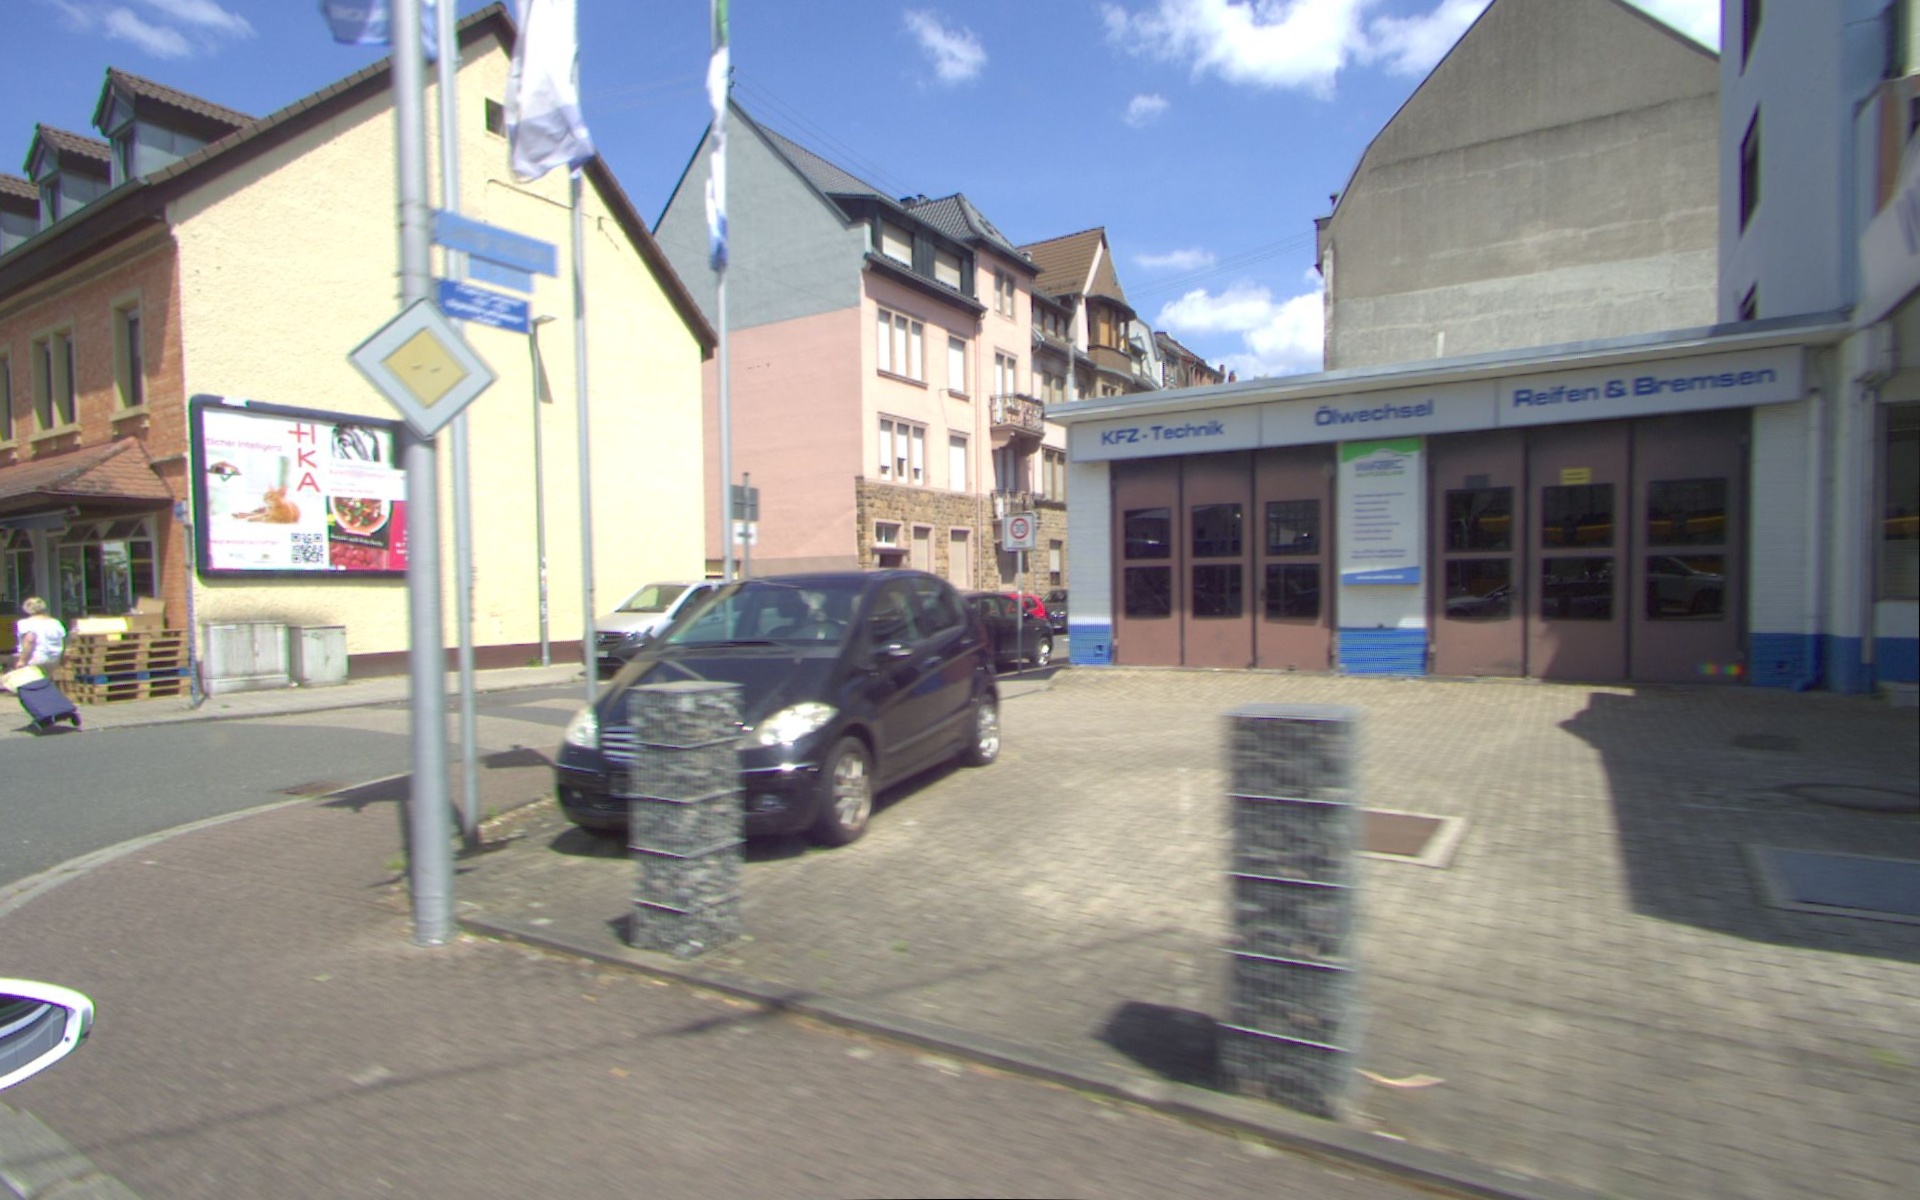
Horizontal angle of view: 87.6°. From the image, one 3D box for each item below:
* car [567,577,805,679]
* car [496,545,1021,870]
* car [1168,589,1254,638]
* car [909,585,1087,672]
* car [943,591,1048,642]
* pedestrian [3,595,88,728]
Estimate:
[{"bbox_3d":[-5.620,0.512,21.296,1.880,1.886,5.047,-1,0,29],"label":"car"},{"bbox_3d":[-0.997,0.525,6.952,1.810,1.563,3.880,-1,0,20],"label":"car"},{"bbox_3d":[8.525,0.492,33.803,1.627,1.527,3.980,-2,-2,32],"label":"car"},{"bbox_3d":[0.863,0.520,20.332,1.817,1.563,3.865,-1,0,34],"label":"car"},{"bbox_3d":[1.208,0.551,32.525,1.627,1.527,3.980,-2,-2,32],"label":"car"},{"bbox_3d":[-12.005,0.780,13.163,0.698,1.664,0.654,-2,4,-37],"label":"pedestrian"}]
